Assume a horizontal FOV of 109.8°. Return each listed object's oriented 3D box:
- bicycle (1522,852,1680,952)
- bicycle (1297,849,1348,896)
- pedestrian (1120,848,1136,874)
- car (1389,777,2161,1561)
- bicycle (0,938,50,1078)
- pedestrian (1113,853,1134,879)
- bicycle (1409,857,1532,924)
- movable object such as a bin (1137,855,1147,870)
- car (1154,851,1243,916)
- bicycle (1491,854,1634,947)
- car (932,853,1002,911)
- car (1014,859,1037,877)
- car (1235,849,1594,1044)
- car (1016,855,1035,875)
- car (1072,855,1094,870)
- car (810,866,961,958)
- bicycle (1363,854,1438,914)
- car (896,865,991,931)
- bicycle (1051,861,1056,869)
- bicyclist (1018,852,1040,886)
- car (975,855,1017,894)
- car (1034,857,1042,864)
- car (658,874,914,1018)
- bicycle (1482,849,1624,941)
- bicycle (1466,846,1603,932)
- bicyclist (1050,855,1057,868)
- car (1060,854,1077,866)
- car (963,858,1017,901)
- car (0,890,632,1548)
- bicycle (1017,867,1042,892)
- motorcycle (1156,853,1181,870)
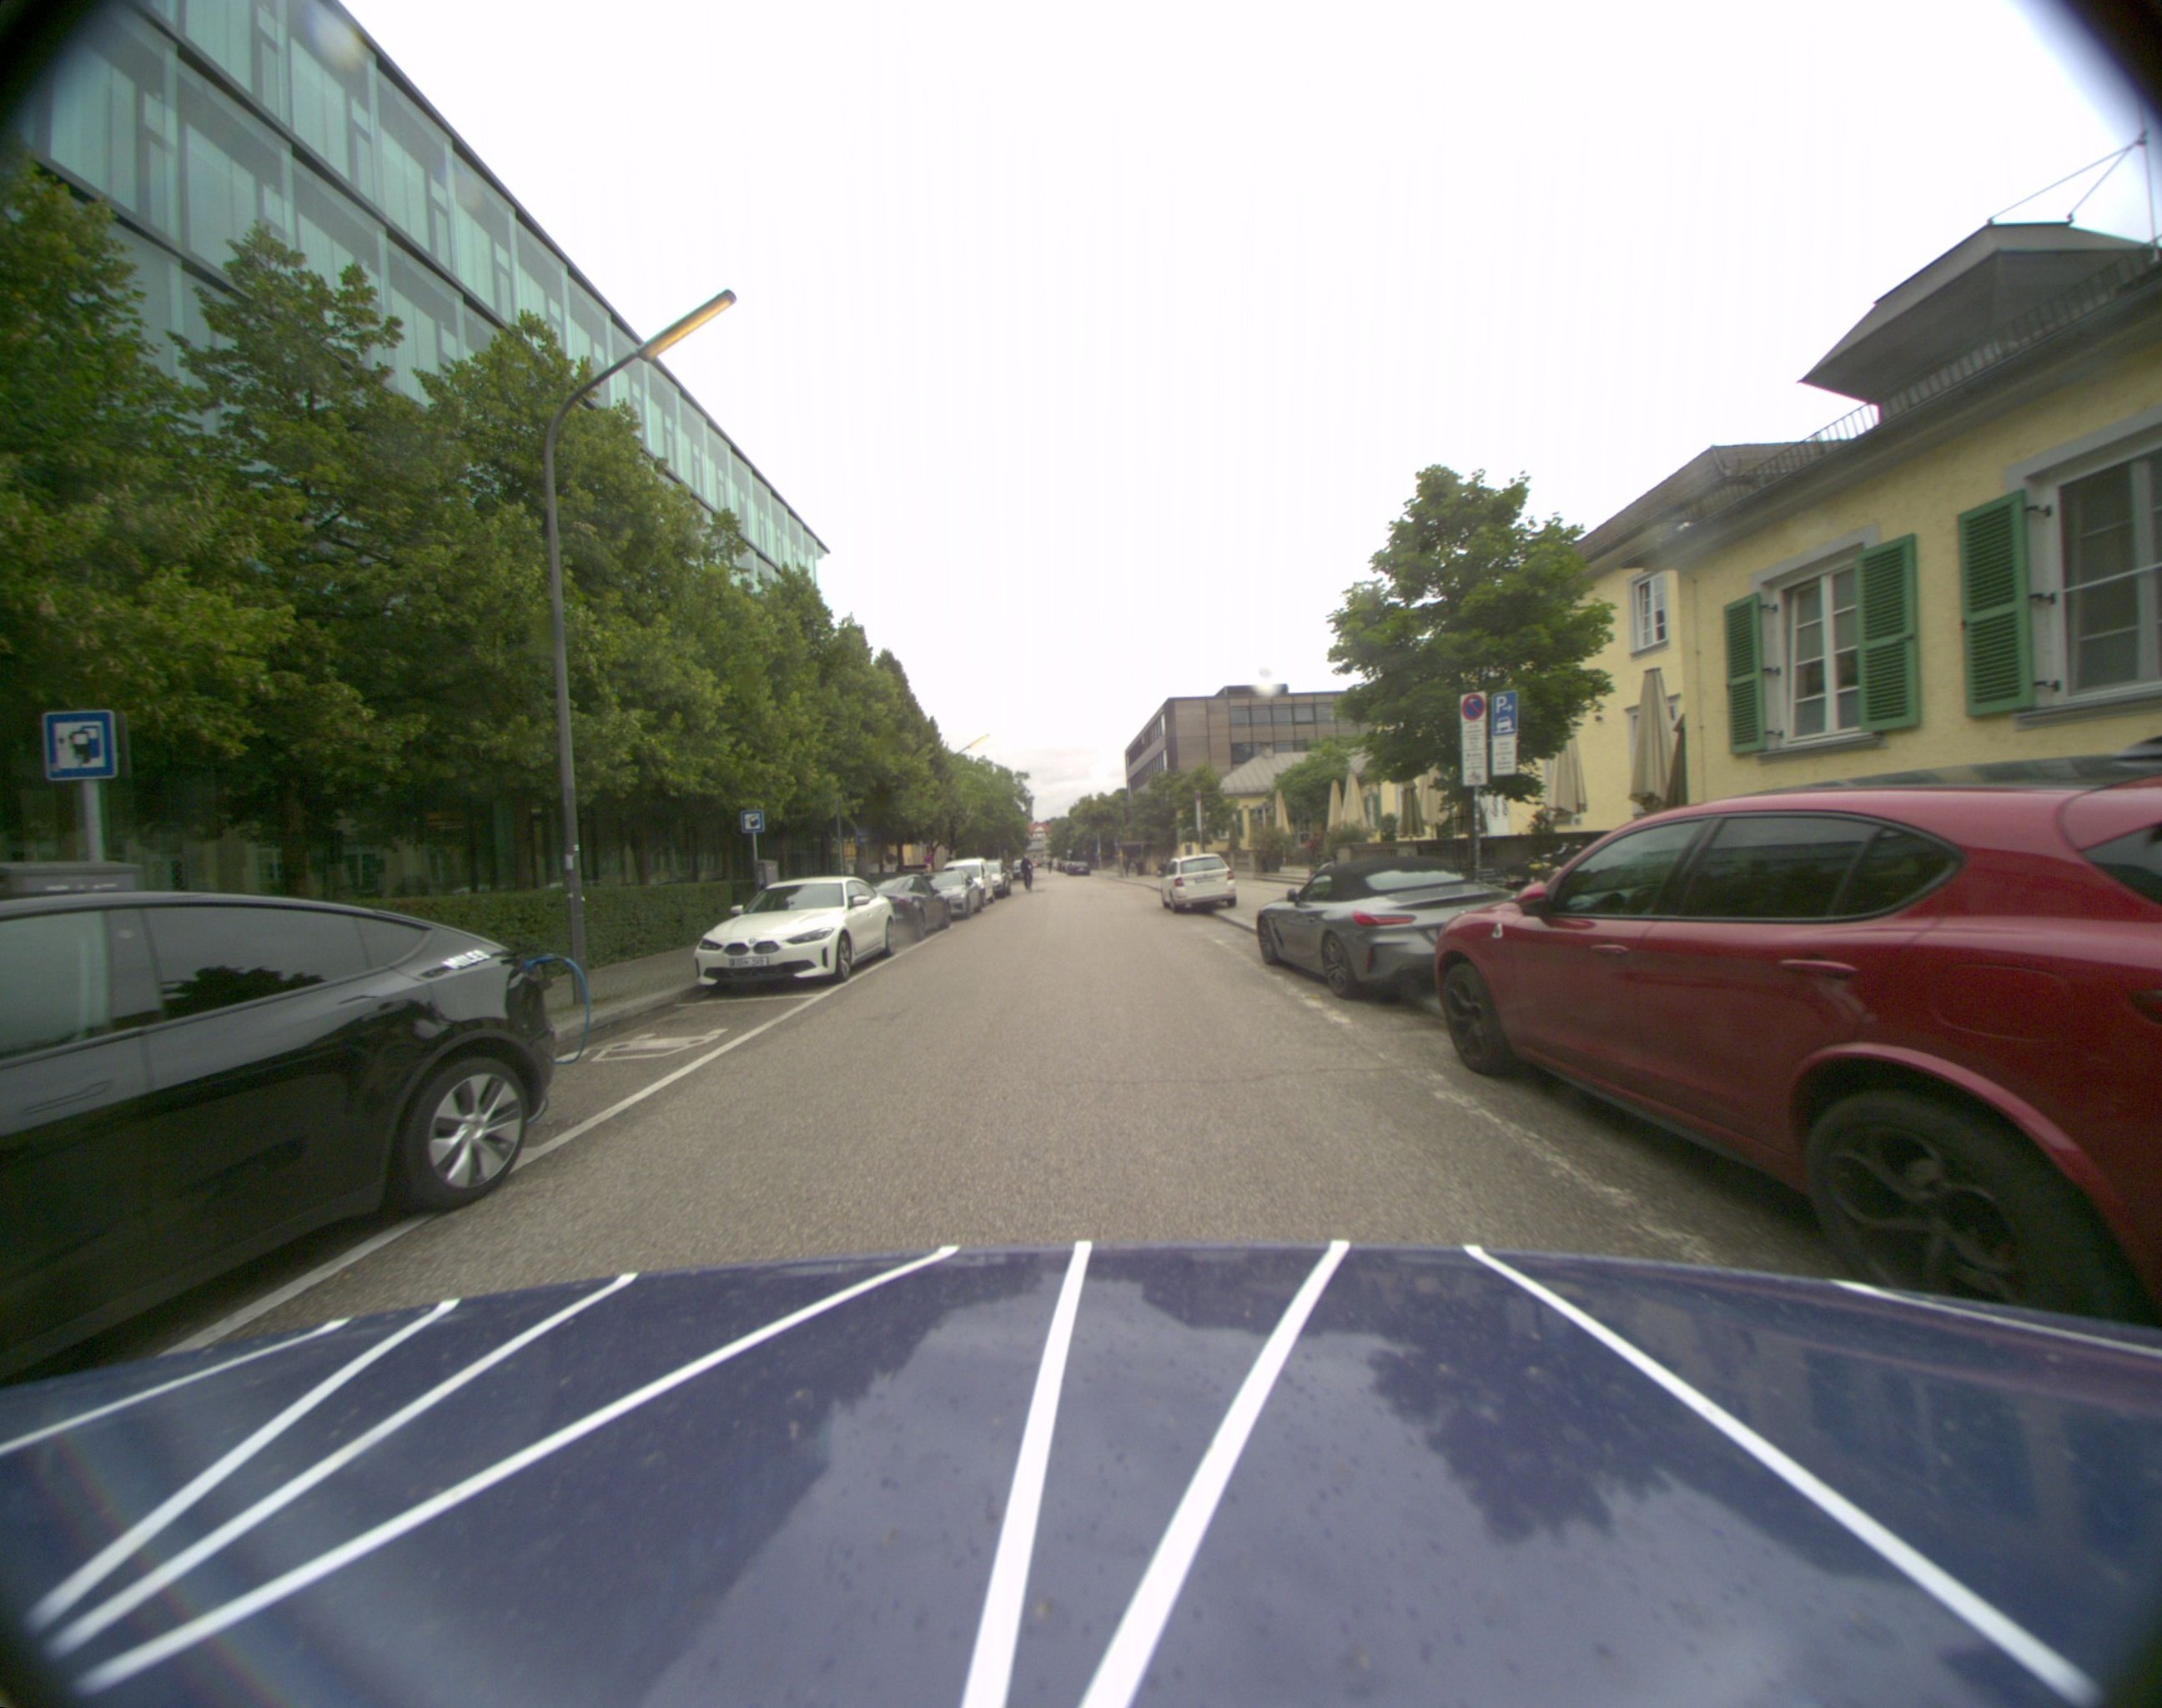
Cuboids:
[{"bbox_3d":[6.568,0.590,9.649,1.494,1.142,0.642,-4,0,3],"label":"bicycle"},{"bbox_3d":[6.944,0.534,21.817,1.571,1.254,0.569,-3,0,-39],"label":"bicycle"},{"bbox_3d":[3.746,0.563,60.348,0.977,2.002,0.914,-5,1,-4],"label":"pedestrian"},{"bbox_3d":[3.295,0.615,3.398,1.906,1.682,4.808,-5,0,2],"label":"car"},{"bbox_3d":[-10.941,1.487,7.159,1.943,1.262,0.634,-3,0,11],"label":"bicycle"},{"bbox_3d":[3.547,0.985,63.969,1.480,2.002,1.500,-5,1,-4],"label":"pedestrian"},{"bbox_3d":[6.739,0.624,13.213,1.727,1.022,0.645,-4,0,8],"label":"bicycle"},{"bbox_3d":[4.788,0.690,59.703,0.615,1.102,0.460,-5,1,-4],"label":"movable object such as a bin"},{"bbox_3d":[3.139,0.729,21.131,1.729,1.483,4.461,-5,0,0],"label":"car"},{"bbox_3d":[6.446,0.607,10.197,1.633,1.130,0.387,-3,1,-1],"label":"bicycle"},{"bbox_3d":[-4.241,0.993,28.926,1.789,1.884,4.574,-5,0,0],"label":"car"},{"bbox_3d":[-5.276,1.288,72.455,1.959,1.494,4.485,-5,0,-4],"label":"car"},{"bbox_3d":[3.317,0.781,8.793,1.901,1.510,4.654,-5,0,-2],"label":"car"},{"bbox_3d":[-5.720,1.086,78.509,1.831,1.884,4.485,-5,0,-4],"label":"car"},{"bbox_3d":[0.162,0.824,76.921,1.929,1.390,4.485,-3,0,-4],"label":"car"},{"bbox_3d":[-4.168,1.166,17.156,1.967,1.543,4.849,-5,0,1],"label":"car"},{"bbox_3d":[6.404,0.579,15.197,1.637,1.082,0.636,-3,0,-39],"label":"bicycle"},{"bbox_3d":[-4.013,1.220,23.047,1.952,1.543,5.004,-5,0,-1],"label":"car"},{"bbox_3d":[-3.571,1.456,99.342,0.607,1.014,2.307,-1,0,-4],"label":"bicycle"},{"bbox_3d":[-2.663,0.741,38.906,0.780,1.657,1.035,-5,-1,11],"label":"bicyclist"},{"bbox_3d":[-4.374,1.035,39.687,1.815,1.797,4.346,-5,0,-4],"label":"car"},{"bbox_3d":[-13.250,2.028,234.035,1.999,2.002,3.998,-5,1,-5],"label":"car"},{"bbox_3d":[-4.119,1.179,11.698,1.999,1.451,4.956,-5,0,-2],"label":"car"},{"bbox_3d":[6.553,0.563,10.573,1.705,1.165,0.352,-3,1,-1],"label":"bicycle"},{"bbox_3d":[6.703,0.516,11.276,1.632,1.166,0.466,-4,0,8],"label":"bicycle"},{"bbox_3d":[-3.580,0.996,99.452,0.904,1.602,1.067,-1,0,-4],"label":"bicyclist"},{"bbox_3d":[-1.706,0.812,101.585,1.999,1.555,3.999,-3,0,-4],"label":"car"},{"bbox_3d":[-4.107,1.102,34.964,1.872,1.681,4.784,-5,0,-1],"label":"car"},{"bbox_3d":[-3.940,1.123,2.157,1.998,1.621,5.100,-5,0,3],"label":"car"},{"bbox_3d":[-2.622,1.289,38.862,0.720,1.199,1.803,-5,-1,10],"label":"bicycle"},{"bbox_3d":[6.316,0.543,54.812,1.664,1.106,0.591,-6,2,40],"label":"motorcycle"}]
